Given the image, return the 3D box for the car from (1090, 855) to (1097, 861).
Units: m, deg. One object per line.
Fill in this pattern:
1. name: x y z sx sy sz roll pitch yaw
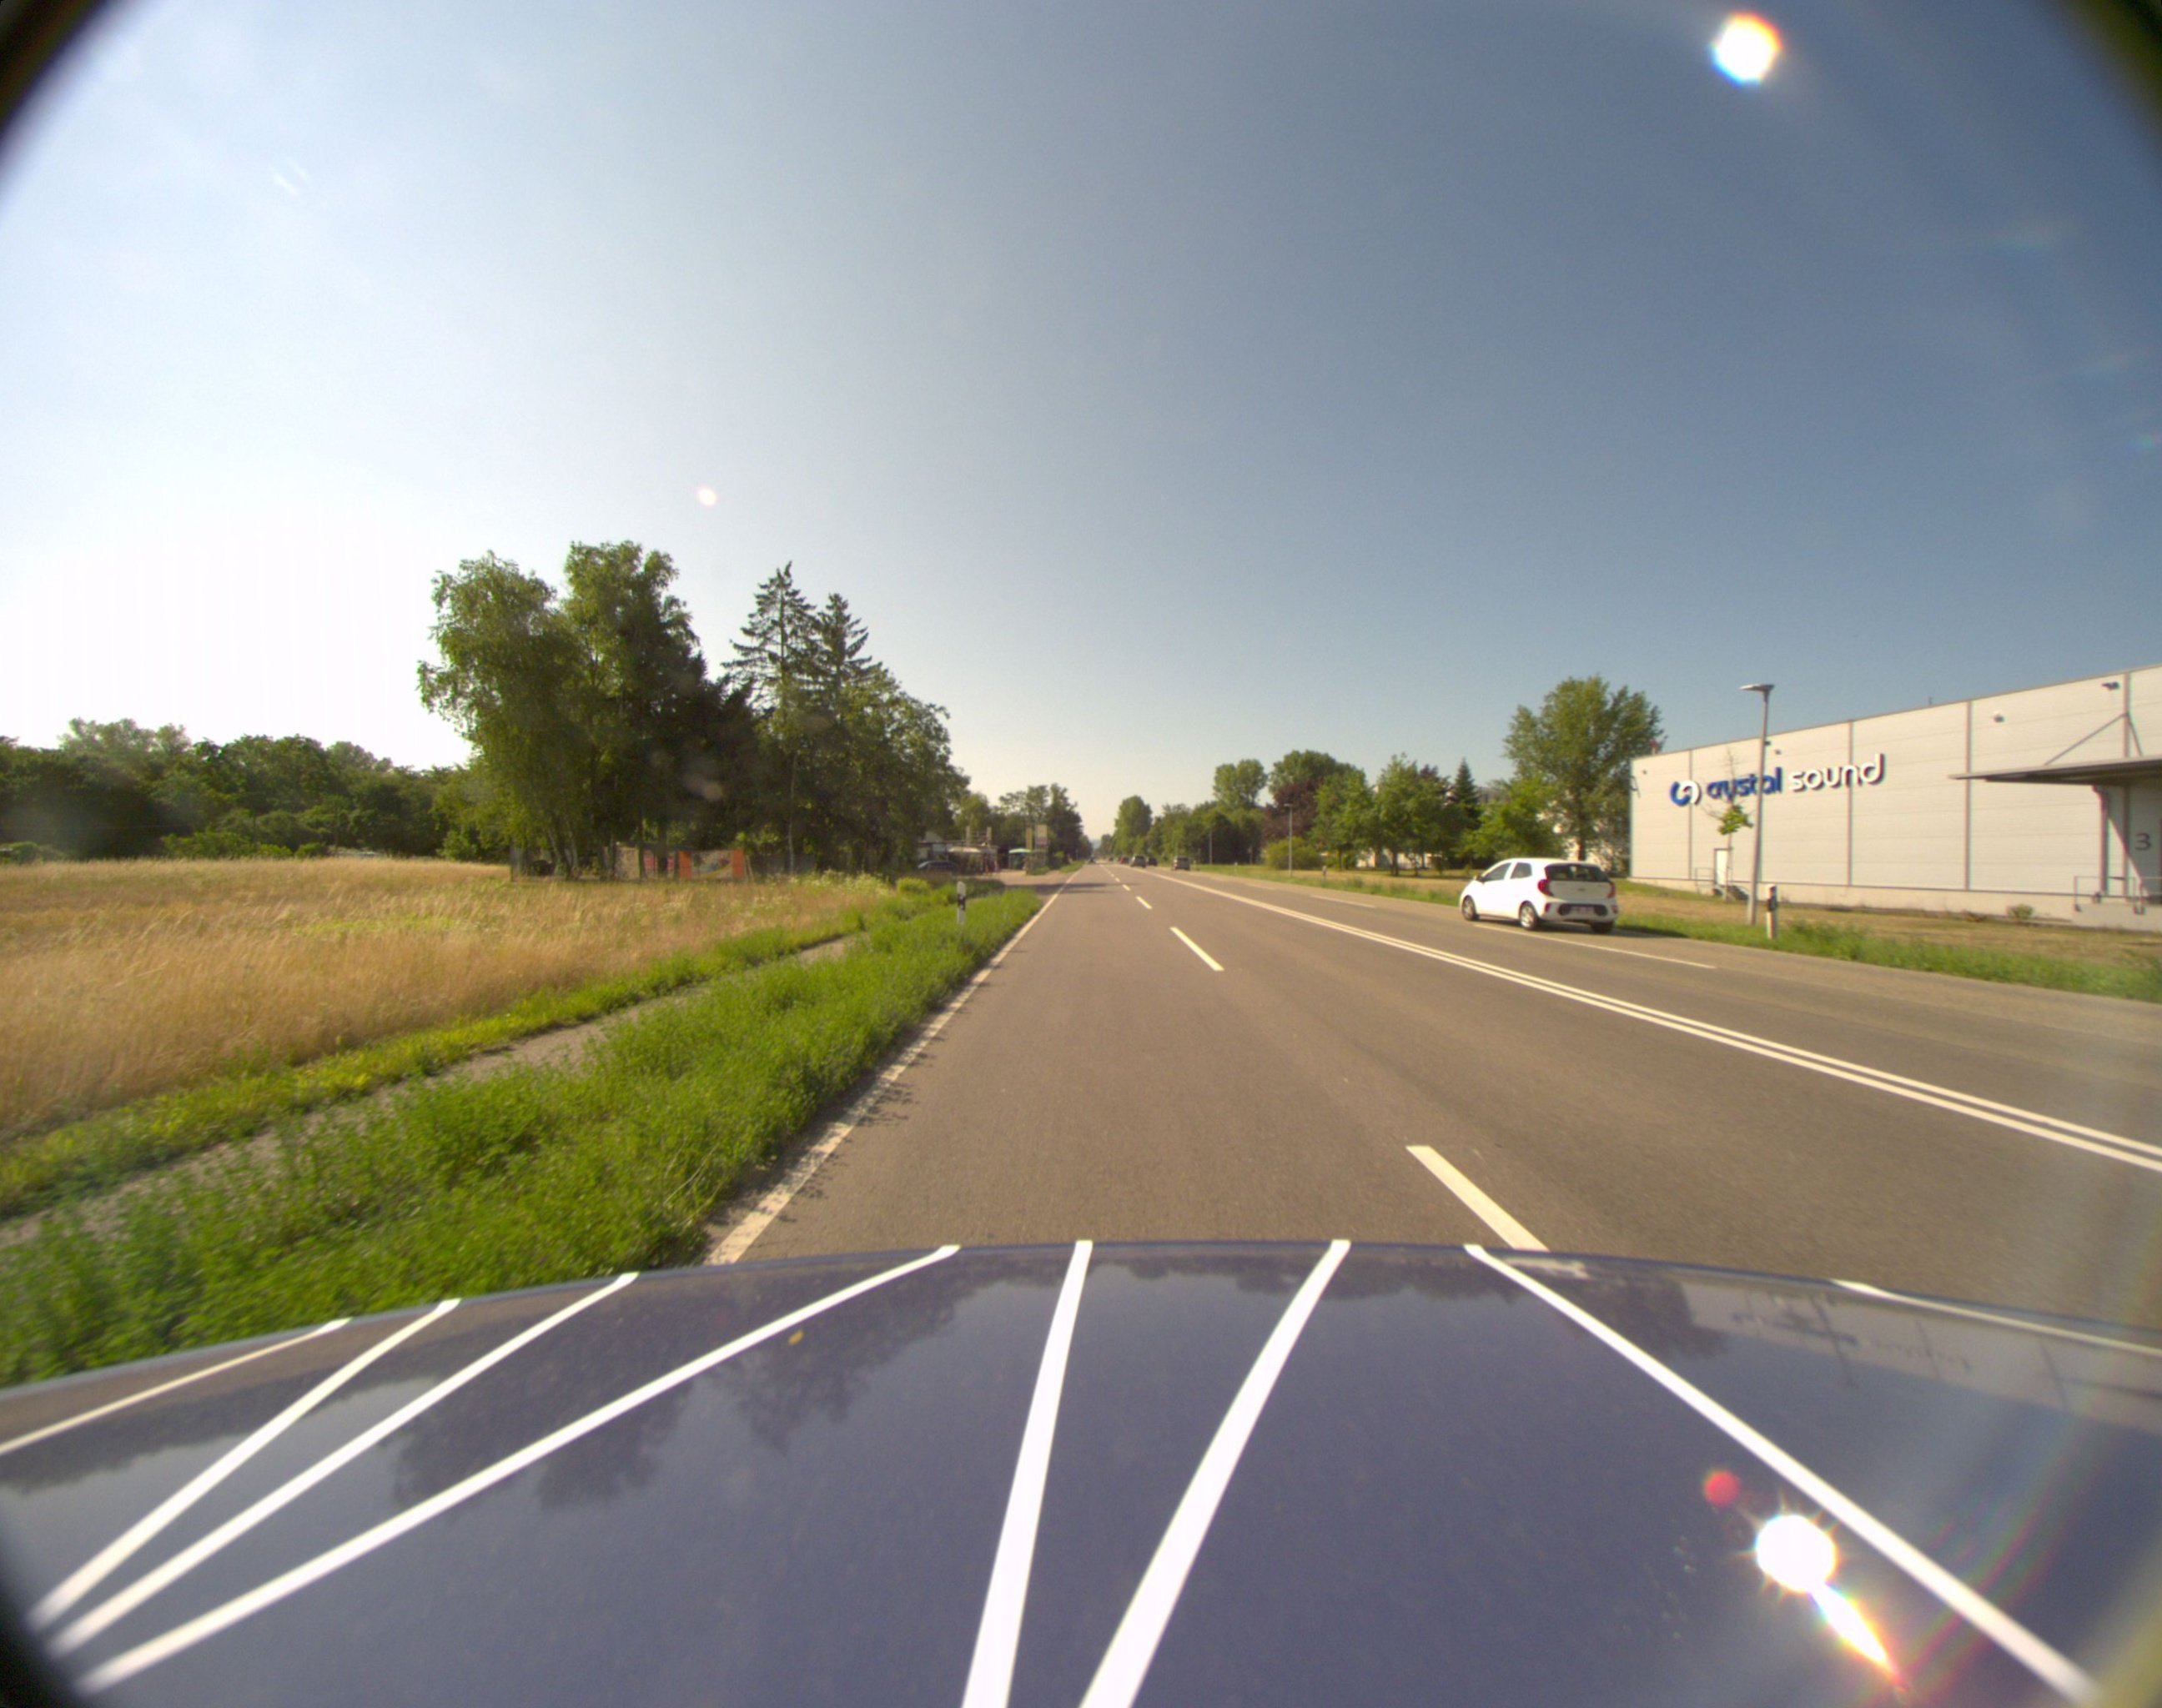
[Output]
1. car: 3.117 0.893 185.430 1.768 1.403 4.001 0 -1 2

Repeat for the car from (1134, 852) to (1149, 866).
1. car: 7.941 0.614 100.142 1.776 1.704 4.569 2 0 2

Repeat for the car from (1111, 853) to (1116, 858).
1. car: 10.789 0.472 251.403 1.768 1.403 4.174 0 -1 2

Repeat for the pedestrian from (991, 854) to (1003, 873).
1. pedestrian: -8.069 0.883 73.147 1.100 1.775 0.936 0 1 -9

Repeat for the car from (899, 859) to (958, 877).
1. car: -12.617 1.144 63.003 4.470 1.422 1.711 0 0 -28

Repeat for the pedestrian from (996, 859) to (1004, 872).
1. pedestrian: -7.850 1.112 74.028 0.725 1.330 0.825 0 1 -9

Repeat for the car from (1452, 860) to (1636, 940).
1. car: 9.732 0.899 16.347 1.663 1.429 3.735 2 0 1

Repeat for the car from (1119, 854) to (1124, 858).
1. car: 13.508 0.697 254.537 1.768 1.403 4.001 0 -1 2

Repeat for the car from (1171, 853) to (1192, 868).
1. car: 10.952 0.726 82.828 1.733 1.552 4.215 2 0 1

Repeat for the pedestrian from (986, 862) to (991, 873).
1. pedestrian: -8.893 1.305 72.716 0.470 0.978 0.338 0 1 -9

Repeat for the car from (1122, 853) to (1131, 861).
1. car: 9.211 0.577 154.658 1.654 1.489 3.844 2 0 1

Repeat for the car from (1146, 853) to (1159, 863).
1. car: 11.402 0.589 121.748 1.656 1.472 4.740 2 0 1
